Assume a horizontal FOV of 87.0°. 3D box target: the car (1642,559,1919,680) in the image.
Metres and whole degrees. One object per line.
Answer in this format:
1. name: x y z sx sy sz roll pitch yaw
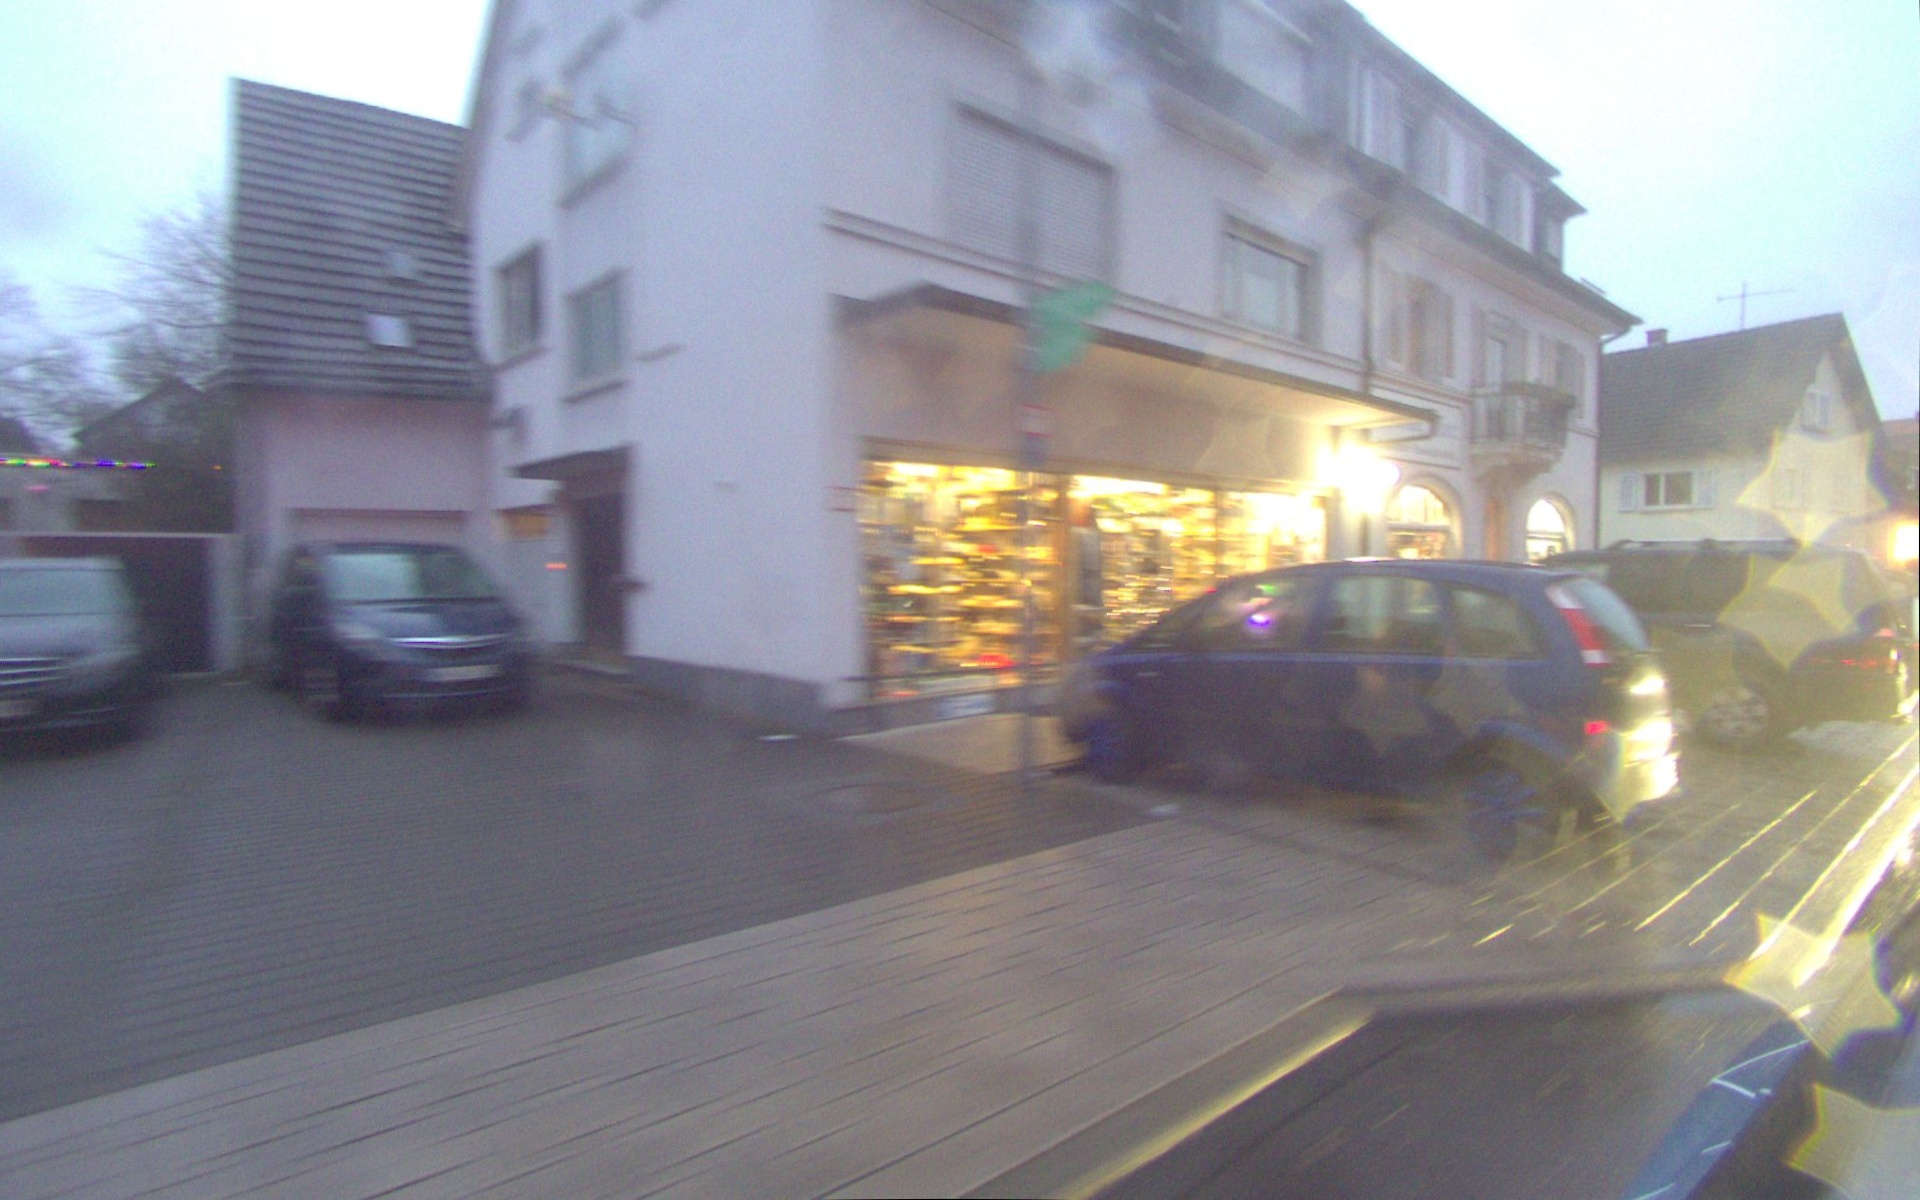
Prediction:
1. car: 13.587 0.235 16.386 1.684 1.754 3.886 0 2 -40

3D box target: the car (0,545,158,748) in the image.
1. car: -8.288 0.287 8.809 1.837 1.486 3.799 -1 2 -42

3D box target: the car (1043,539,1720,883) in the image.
1. car: 2.543 0.441 6.765 1.586 1.647 3.844 0 3 -45

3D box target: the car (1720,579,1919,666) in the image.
1. car: 15.807 0.358 17.607 1.524 1.384 3.886 0 2 -40

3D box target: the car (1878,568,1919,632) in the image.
1. car: 24.374 0.039 23.849 1.524 1.515 3.886 0 2 -40

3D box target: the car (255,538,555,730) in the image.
1. car: -5.733 0.216 10.220 1.716 1.549 3.991 0 1 -43

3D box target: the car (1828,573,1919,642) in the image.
1. car: 22.163 0.188 22.716 1.524 1.515 3.886 0 2 -40

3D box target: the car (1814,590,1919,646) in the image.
1. car: 20.788 0.401 21.479 1.524 1.141 3.886 0 2 -40

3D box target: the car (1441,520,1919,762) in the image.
1. car: 7.002 0.260 9.756 3.879 1.900 1.839 2 2 44
